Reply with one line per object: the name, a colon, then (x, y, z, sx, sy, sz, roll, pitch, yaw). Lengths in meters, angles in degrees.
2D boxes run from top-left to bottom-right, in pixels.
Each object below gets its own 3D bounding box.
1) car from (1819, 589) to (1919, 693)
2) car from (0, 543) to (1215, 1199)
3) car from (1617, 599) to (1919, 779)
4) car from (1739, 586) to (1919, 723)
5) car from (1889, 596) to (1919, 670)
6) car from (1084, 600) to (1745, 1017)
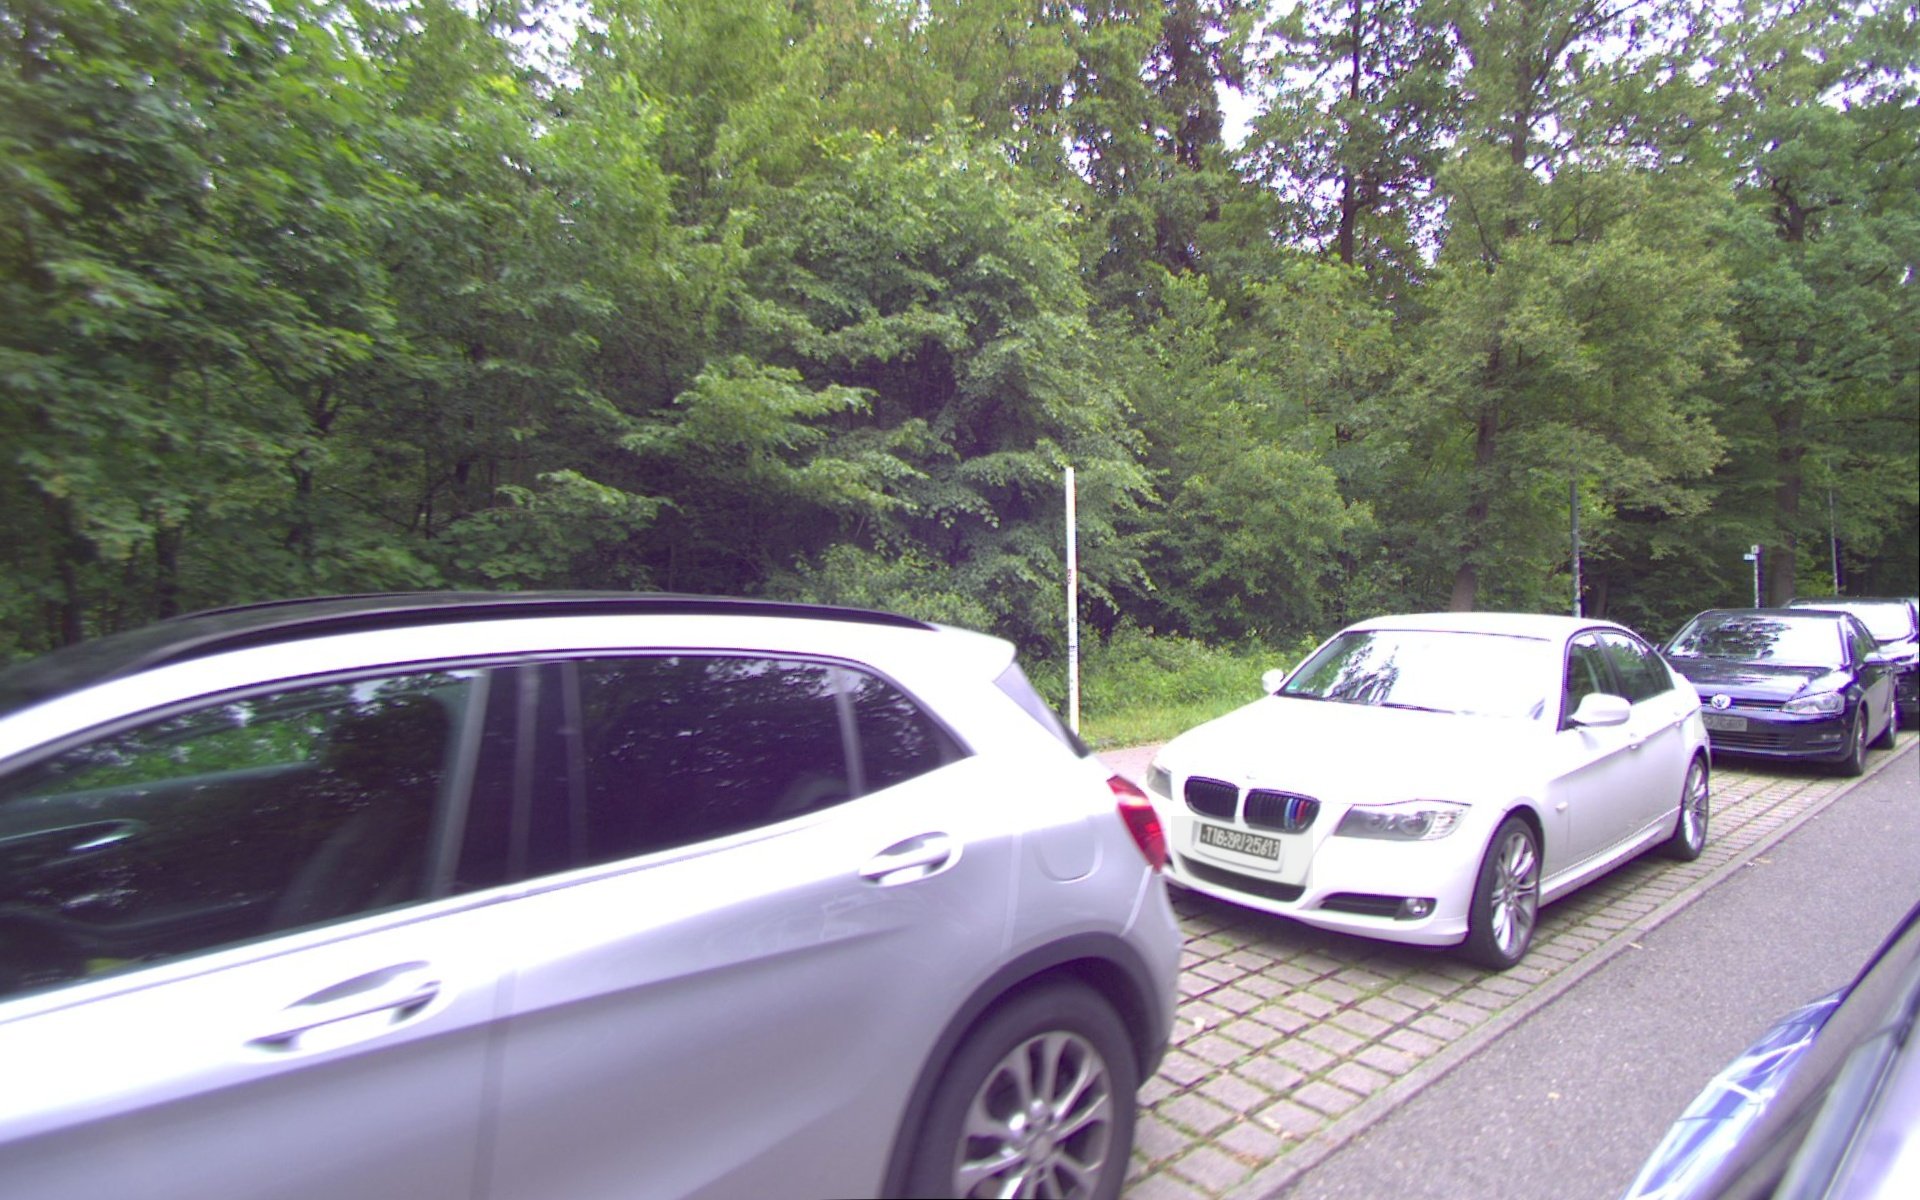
car: (16.280, 0.635, 17.281, 4.404, 1.607, 1.904, 0, 0, -42)
car: (-1.738, 0.688, 1.598, 4.684, 1.498, 1.740, 0, 0, -40)
car: (8.451, 0.715, 10.381, 4.664, 1.453, 1.738, 0, 0, -42)
car: (12.205, 0.627, 13.732, 4.348, 1.580, 1.841, 0, 0, -42)
car: (20.728, 0.667, 20.892, 3.929, 1.460, 1.823, 0, 1, -41)
car: (2.771, 0.712, 5.586, 4.351, 1.425, 1.738, 0, 0, -42)
